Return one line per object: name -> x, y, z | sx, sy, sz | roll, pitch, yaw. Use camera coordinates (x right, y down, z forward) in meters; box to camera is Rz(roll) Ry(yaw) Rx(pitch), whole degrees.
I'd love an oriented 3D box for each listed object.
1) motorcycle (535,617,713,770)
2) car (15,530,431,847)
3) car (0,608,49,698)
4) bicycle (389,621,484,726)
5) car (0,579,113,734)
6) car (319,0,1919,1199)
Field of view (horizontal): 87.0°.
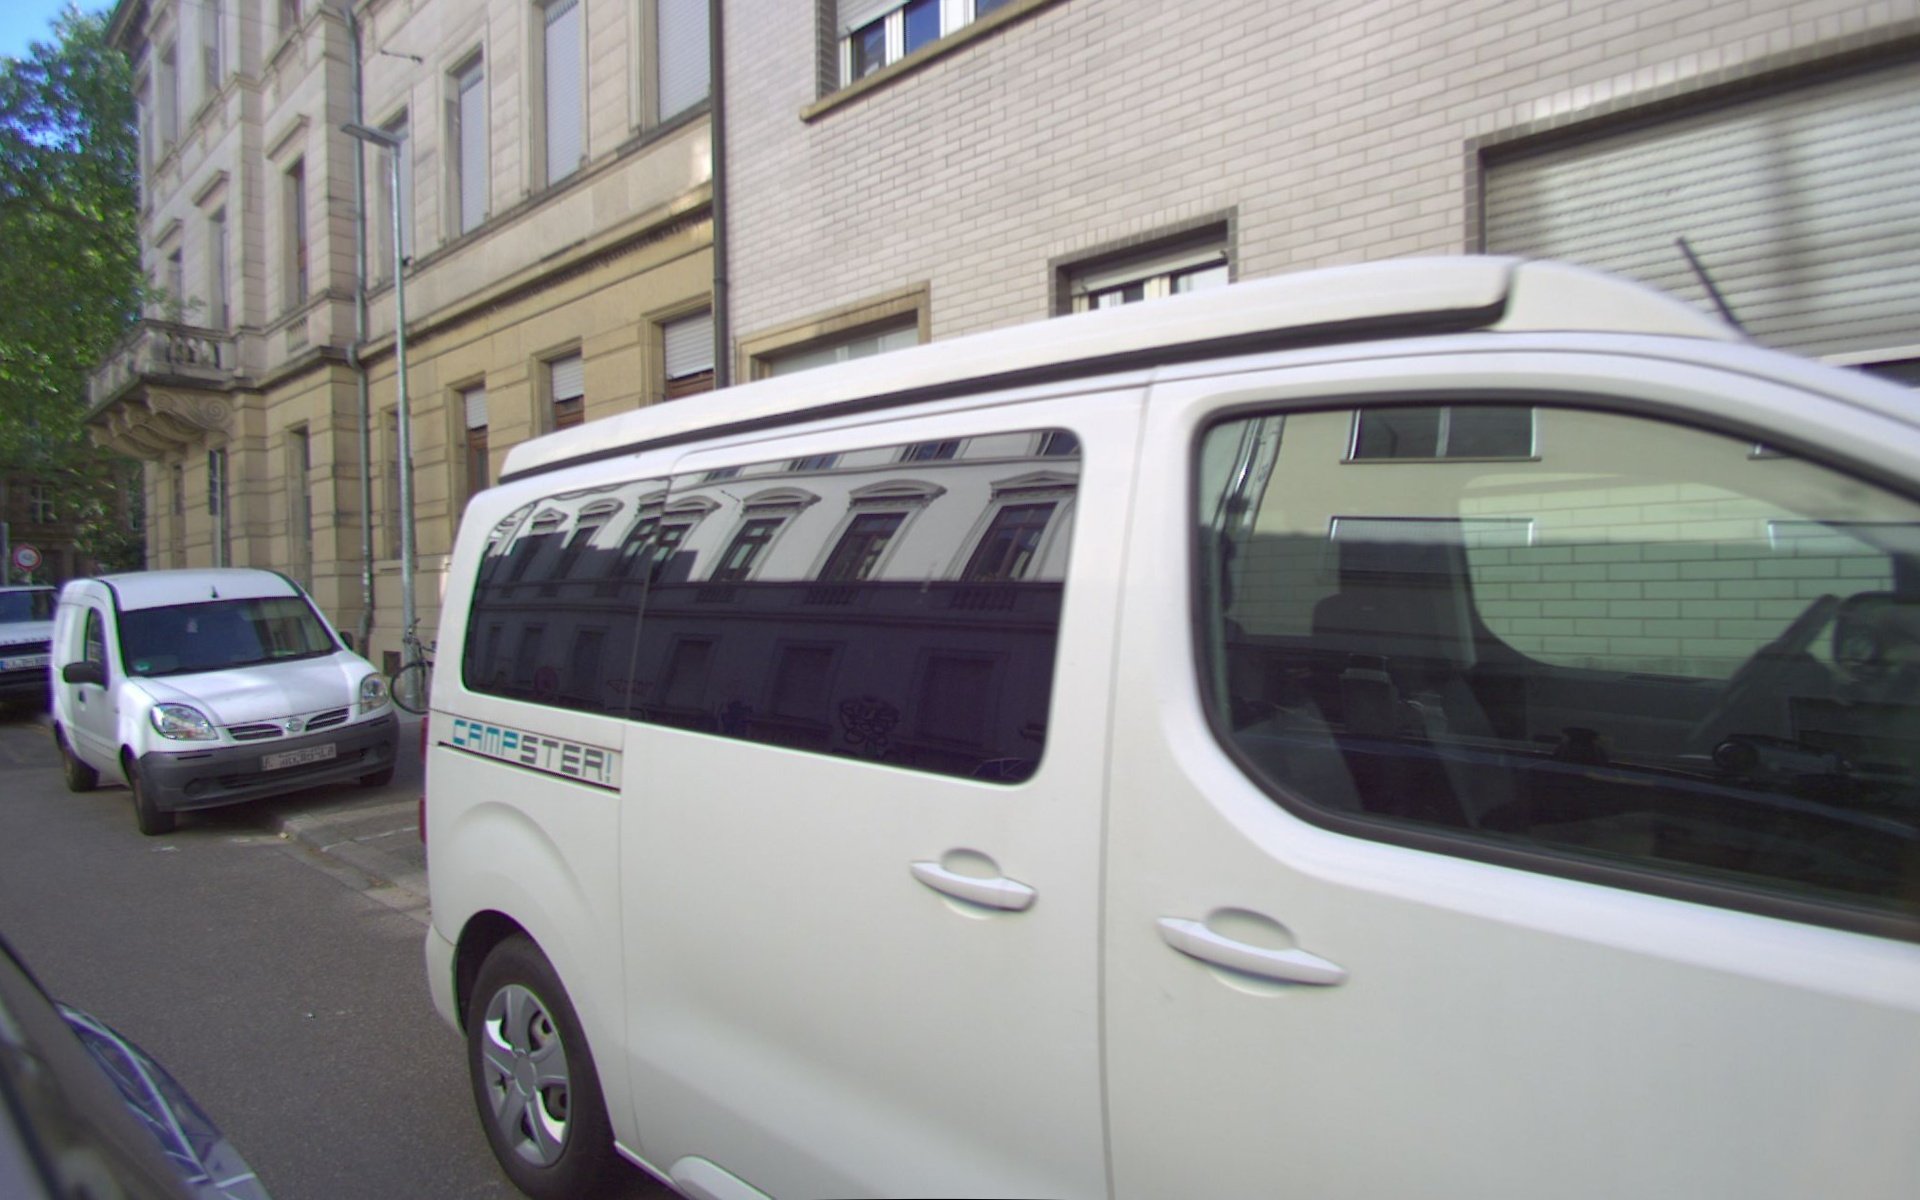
motorcycle -> -2.992, 0.754, 8.862 | 2.120, 1.194, 0.428 | -1, 0, 40
car -> -6.050, 0.535, 8.122 | 4.087, 1.890, 1.727 | -2, 3, 41
car -> -19.033, 0.997, 19.317 | 3.938, 1.573, 1.848 | 0, 2, 40
bicycle -> -6.083, 0.822, 11.729 | 1.507, 1.134, 0.428 | -1, 0, 40
car -> -14.243, 0.763, 14.940 | 4.541, 2.029, 2.001 | -1, 0, 41
car -> 0.717, 0.374, 1.994 | 4.776, 1.973, 1.876 | -2, 1, 39
